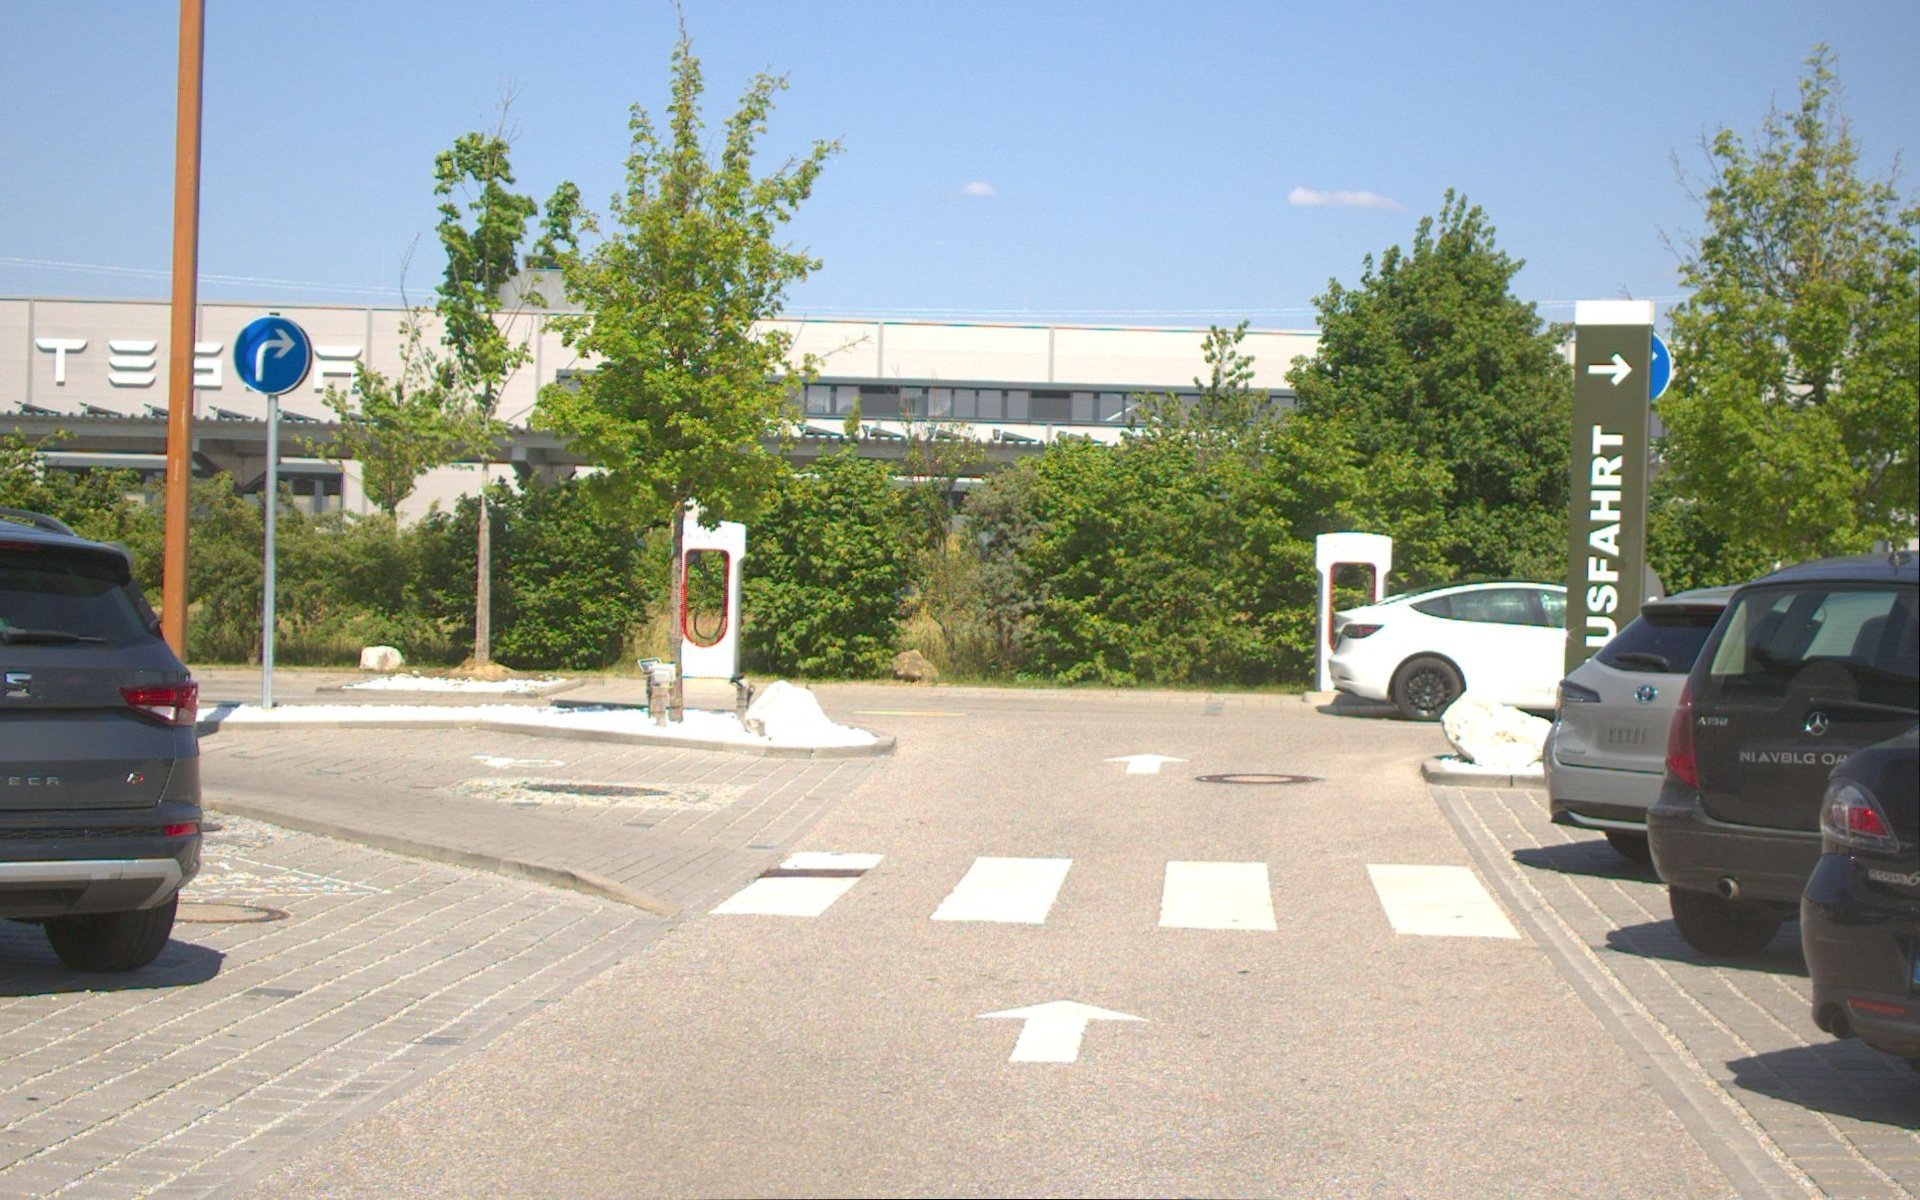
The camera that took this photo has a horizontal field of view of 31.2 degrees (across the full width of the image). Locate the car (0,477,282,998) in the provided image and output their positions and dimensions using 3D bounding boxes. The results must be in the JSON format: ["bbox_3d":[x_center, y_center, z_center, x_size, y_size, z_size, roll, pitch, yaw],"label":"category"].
[{"bbox_3d":[-4.341,0.329,12.403,1.786,1.597,4.226,1,3,-41],"label":"car"}]

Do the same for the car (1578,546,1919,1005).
[{"bbox_3d":[4.436,0.623,13.773,3.989,1.588,1.811,1,1,-43],"label":"car"}]

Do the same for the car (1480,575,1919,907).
[{"bbox_3d":[4.934,0.612,17.397,4.648,1.442,1.835,0,1,-38],"label":"car"}]

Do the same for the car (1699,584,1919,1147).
[{"bbox_3d":[4.217,0.718,9.985,4.063,1.444,1.828,1,1,-38],"label":"car"}]

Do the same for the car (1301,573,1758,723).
[{"bbox_3d":[5.730,0.462,34.898,4.435,1.373,1.822,1,1,8],"label":"car"}]

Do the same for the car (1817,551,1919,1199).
[{"bbox_3d":[3.711,0.717,6.176,4.529,1.506,1.887,1,1,-40],"label":"car"}]
